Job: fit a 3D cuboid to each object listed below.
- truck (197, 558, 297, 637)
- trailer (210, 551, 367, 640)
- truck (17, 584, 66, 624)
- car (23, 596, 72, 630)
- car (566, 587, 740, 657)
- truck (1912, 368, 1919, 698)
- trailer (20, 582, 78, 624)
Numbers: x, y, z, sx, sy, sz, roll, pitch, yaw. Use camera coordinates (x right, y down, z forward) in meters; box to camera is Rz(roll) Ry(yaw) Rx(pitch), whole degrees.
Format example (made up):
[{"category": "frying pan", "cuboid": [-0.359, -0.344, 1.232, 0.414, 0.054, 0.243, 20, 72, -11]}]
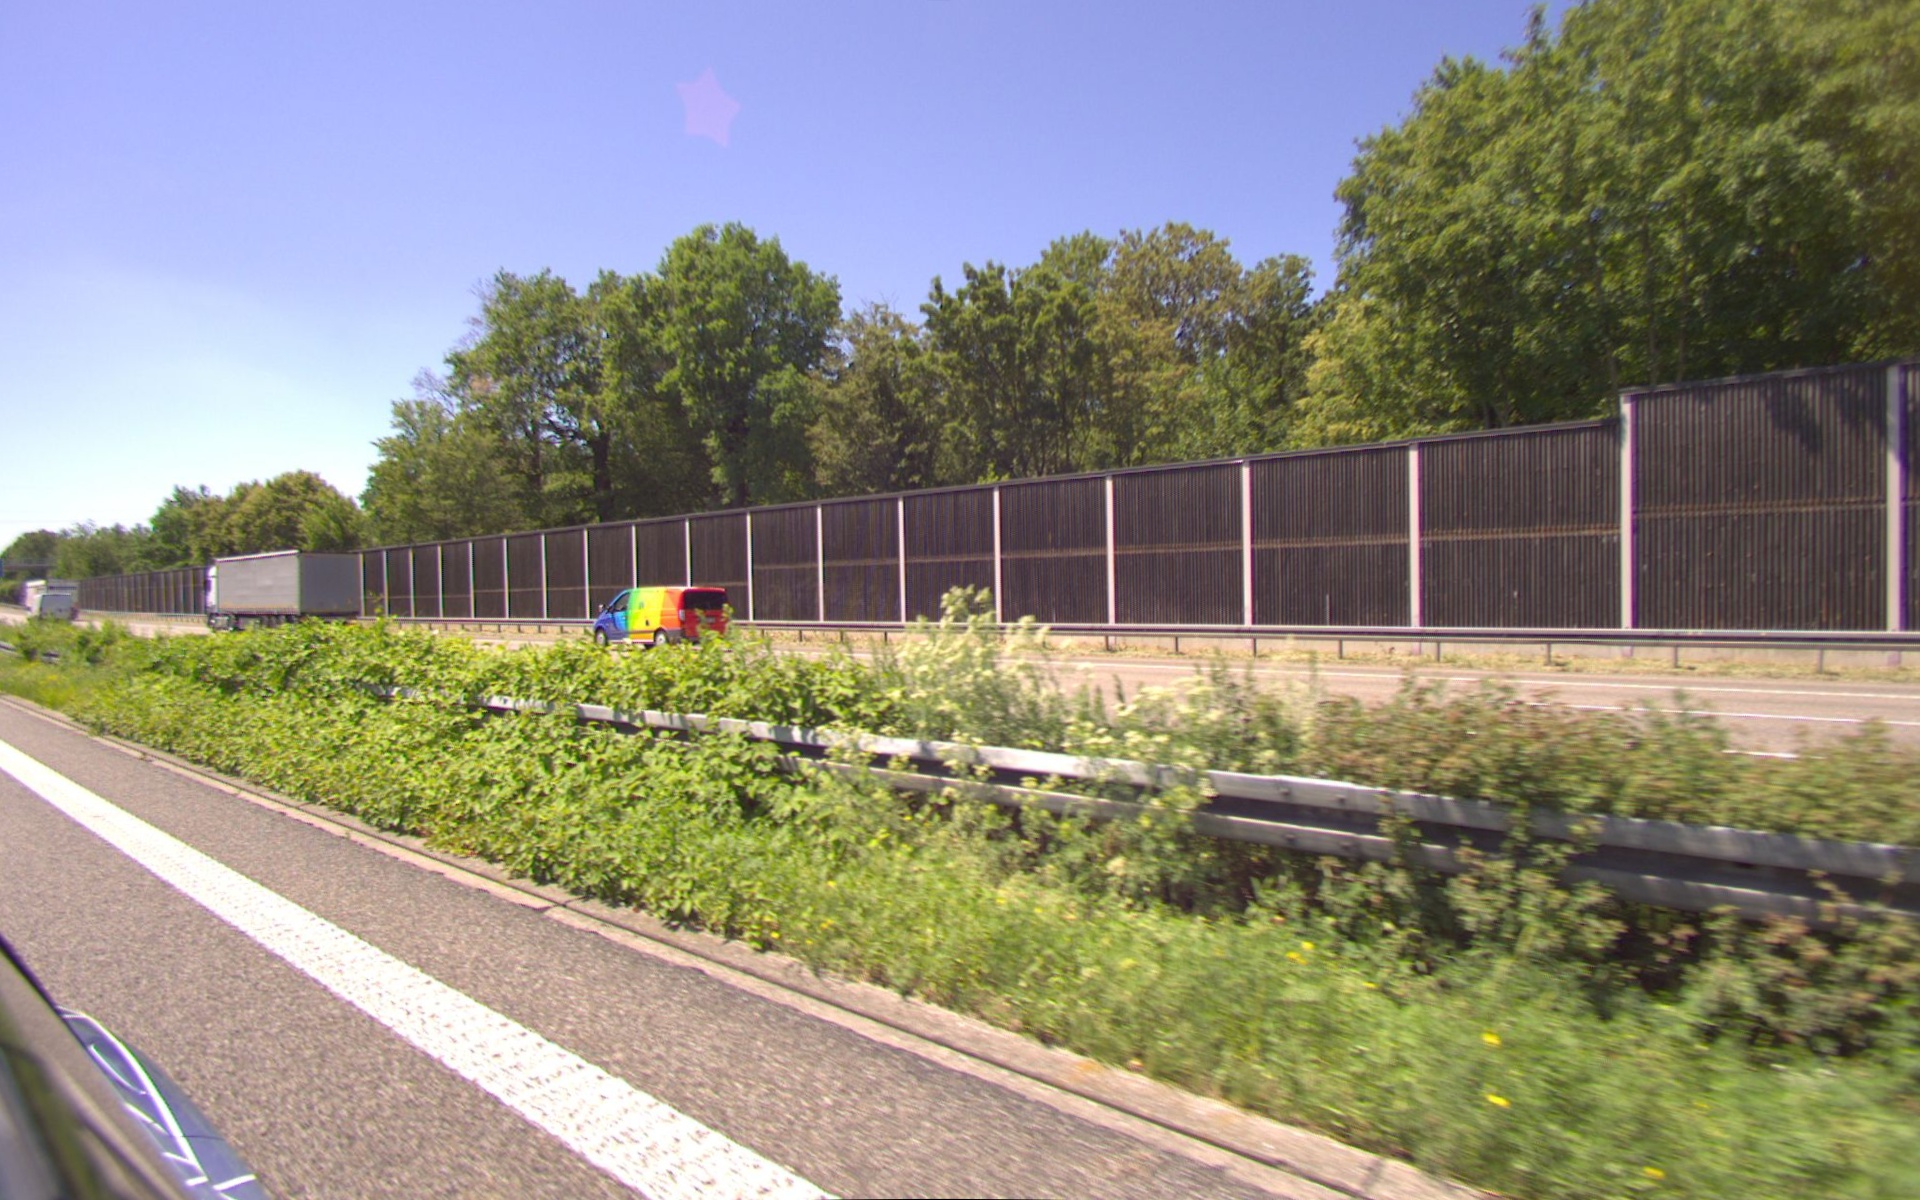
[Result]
[{"category": "truck", "cuboid": [-39.369, -0.114, 55.784, 6.590, 4.060, 2.922, -1, 0, 40]}, {"category": "trailer", "cuboid": [-34.632, -0.162, 51.795, 13.796, 4.060, 2.932, -1, 0, 40]}, {"category": "truck", "cuboid": [-97.237, 0.432, 107.070, 7.963, 4.060, 3.079, -1, 0, 42]}, {"category": "car", "cuboid": [-70.175, 0.988, 77.784, 5.702, 2.527, 2.109, -1, -1, 41]}, {"category": "car", "cuboid": [-9.217, 0.608, 30.098, 5.953, 1.895, 1.974, -1, 0, 39]}, {"category": "truck", "cuboid": [14.016, -0.820, 10.290, 6.113, 4.123, 2.869, -1, 0, 41]}, {"category": "trailer", "cuboid": [-93.066, 0.378, 103.311, 13.003, 4.060, 3.060, -1, 0, 42]}]
